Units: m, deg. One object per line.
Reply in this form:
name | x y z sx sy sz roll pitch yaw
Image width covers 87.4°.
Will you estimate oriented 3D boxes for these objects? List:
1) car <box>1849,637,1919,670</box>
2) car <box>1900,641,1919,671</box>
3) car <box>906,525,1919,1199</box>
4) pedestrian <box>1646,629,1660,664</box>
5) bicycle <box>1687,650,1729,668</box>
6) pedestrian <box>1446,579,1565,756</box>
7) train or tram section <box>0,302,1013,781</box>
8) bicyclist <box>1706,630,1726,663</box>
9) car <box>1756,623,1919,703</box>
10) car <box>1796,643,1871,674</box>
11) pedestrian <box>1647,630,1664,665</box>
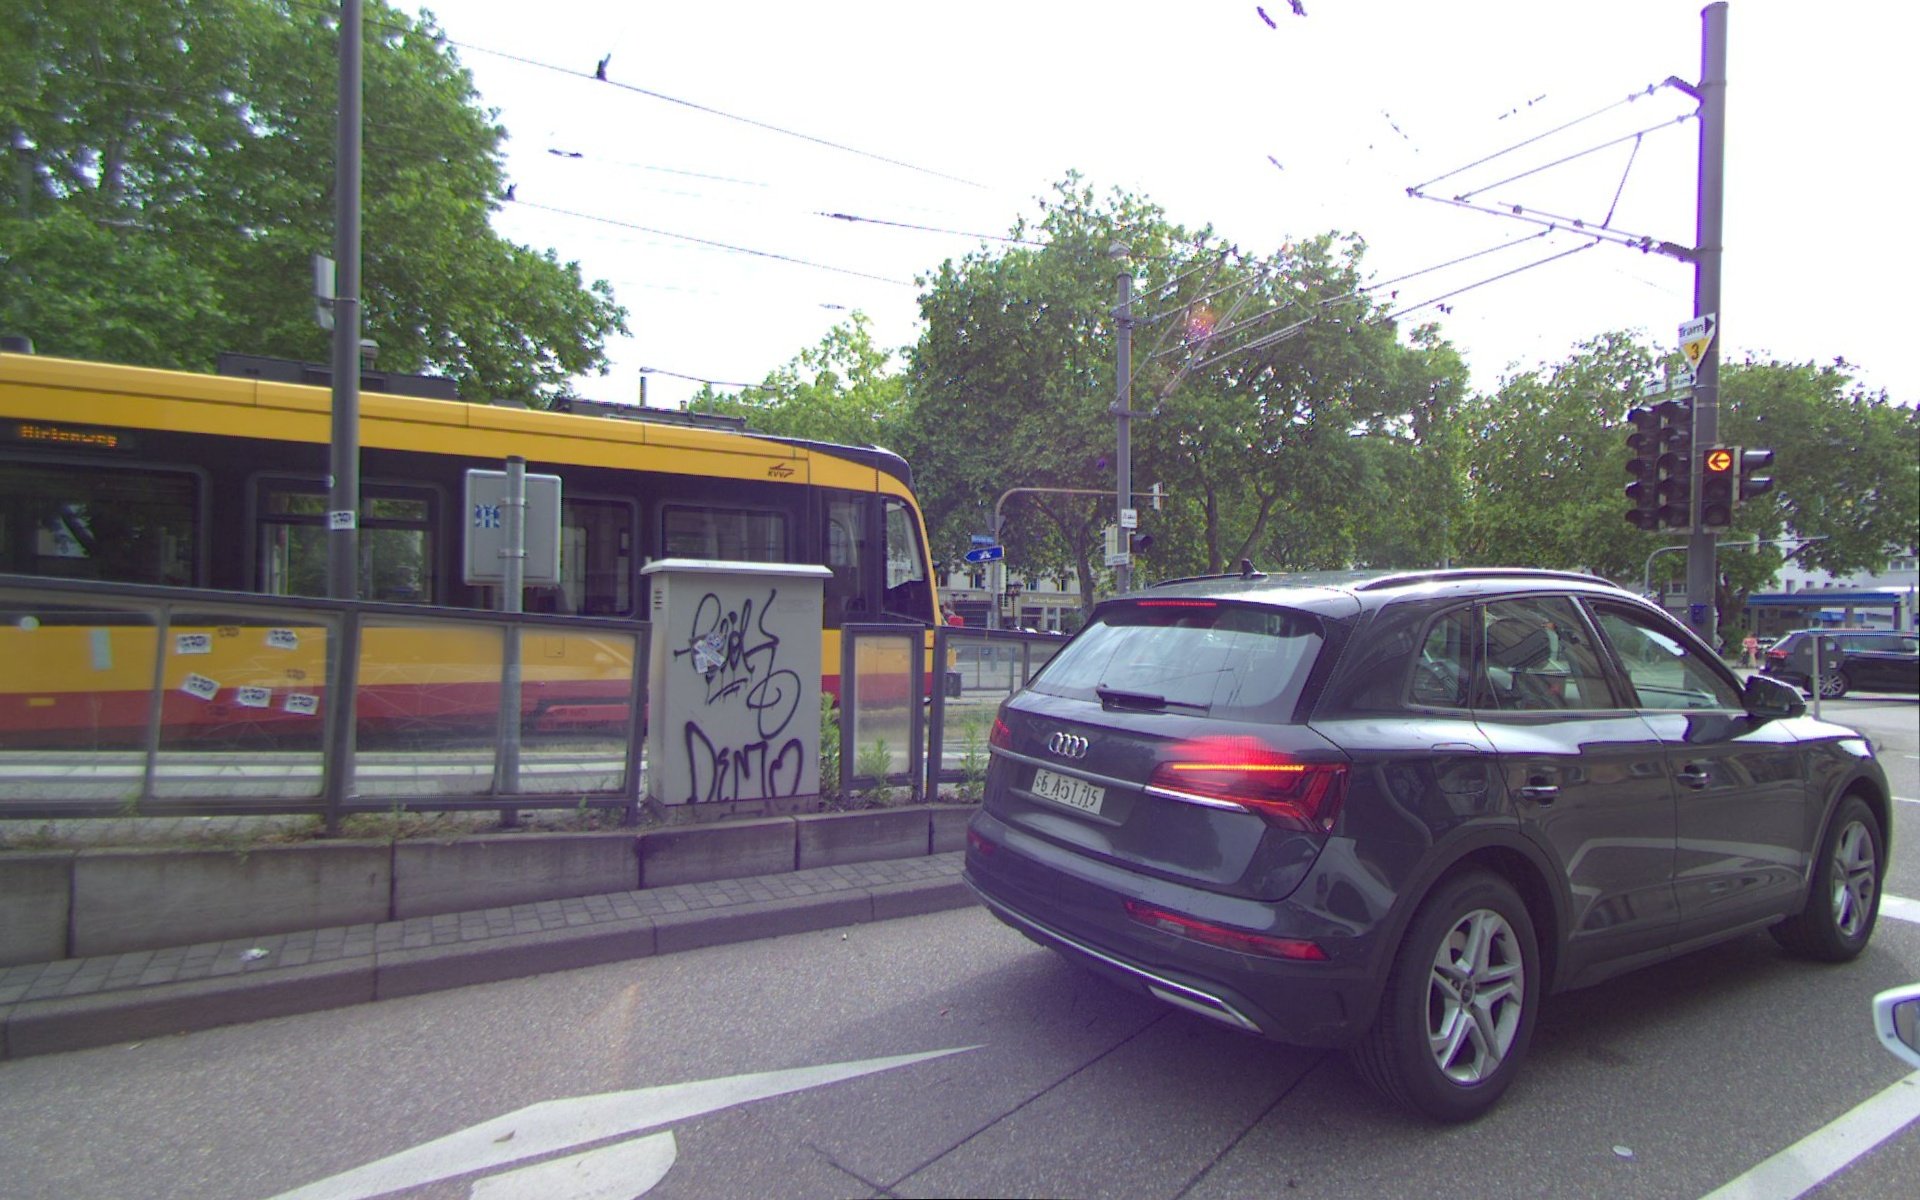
car | 48.209 2.779 52.251 3.792 1.578 1.885 2 0 -31
car | 54.181 3.141 55.777 3.792 1.578 1.885 2 0 -31
car | 2.113 0.695 4.302 4.308 1.622 1.870 2 -1 -31
pedestrian | 35.861 2.406 51.996 0.440 1.808 0.375 2 0 3
bicycle | 37.278 2.953 50.075 0.644 0.783 1.682 2 0 -9
pedestrian | 5.462 0.649 10.068 0.722 1.683 0.750 2 0 -30
train or tram section | -6.873 -0.413 9.654 15.665 3.636 3.045 2 0 -31
bicyclist | 37.520 2.318 49.860 0.611 1.588 0.585 2 0 -30
car | 19.582 1.325 21.090 4.375 1.530 1.832 2 0 37
car | 42.778 2.853 49.180 3.954 1.343 1.626 2 0 -31
pedestrian | 35.964 2.452 51.945 0.541 1.808 0.375 2 0 1
